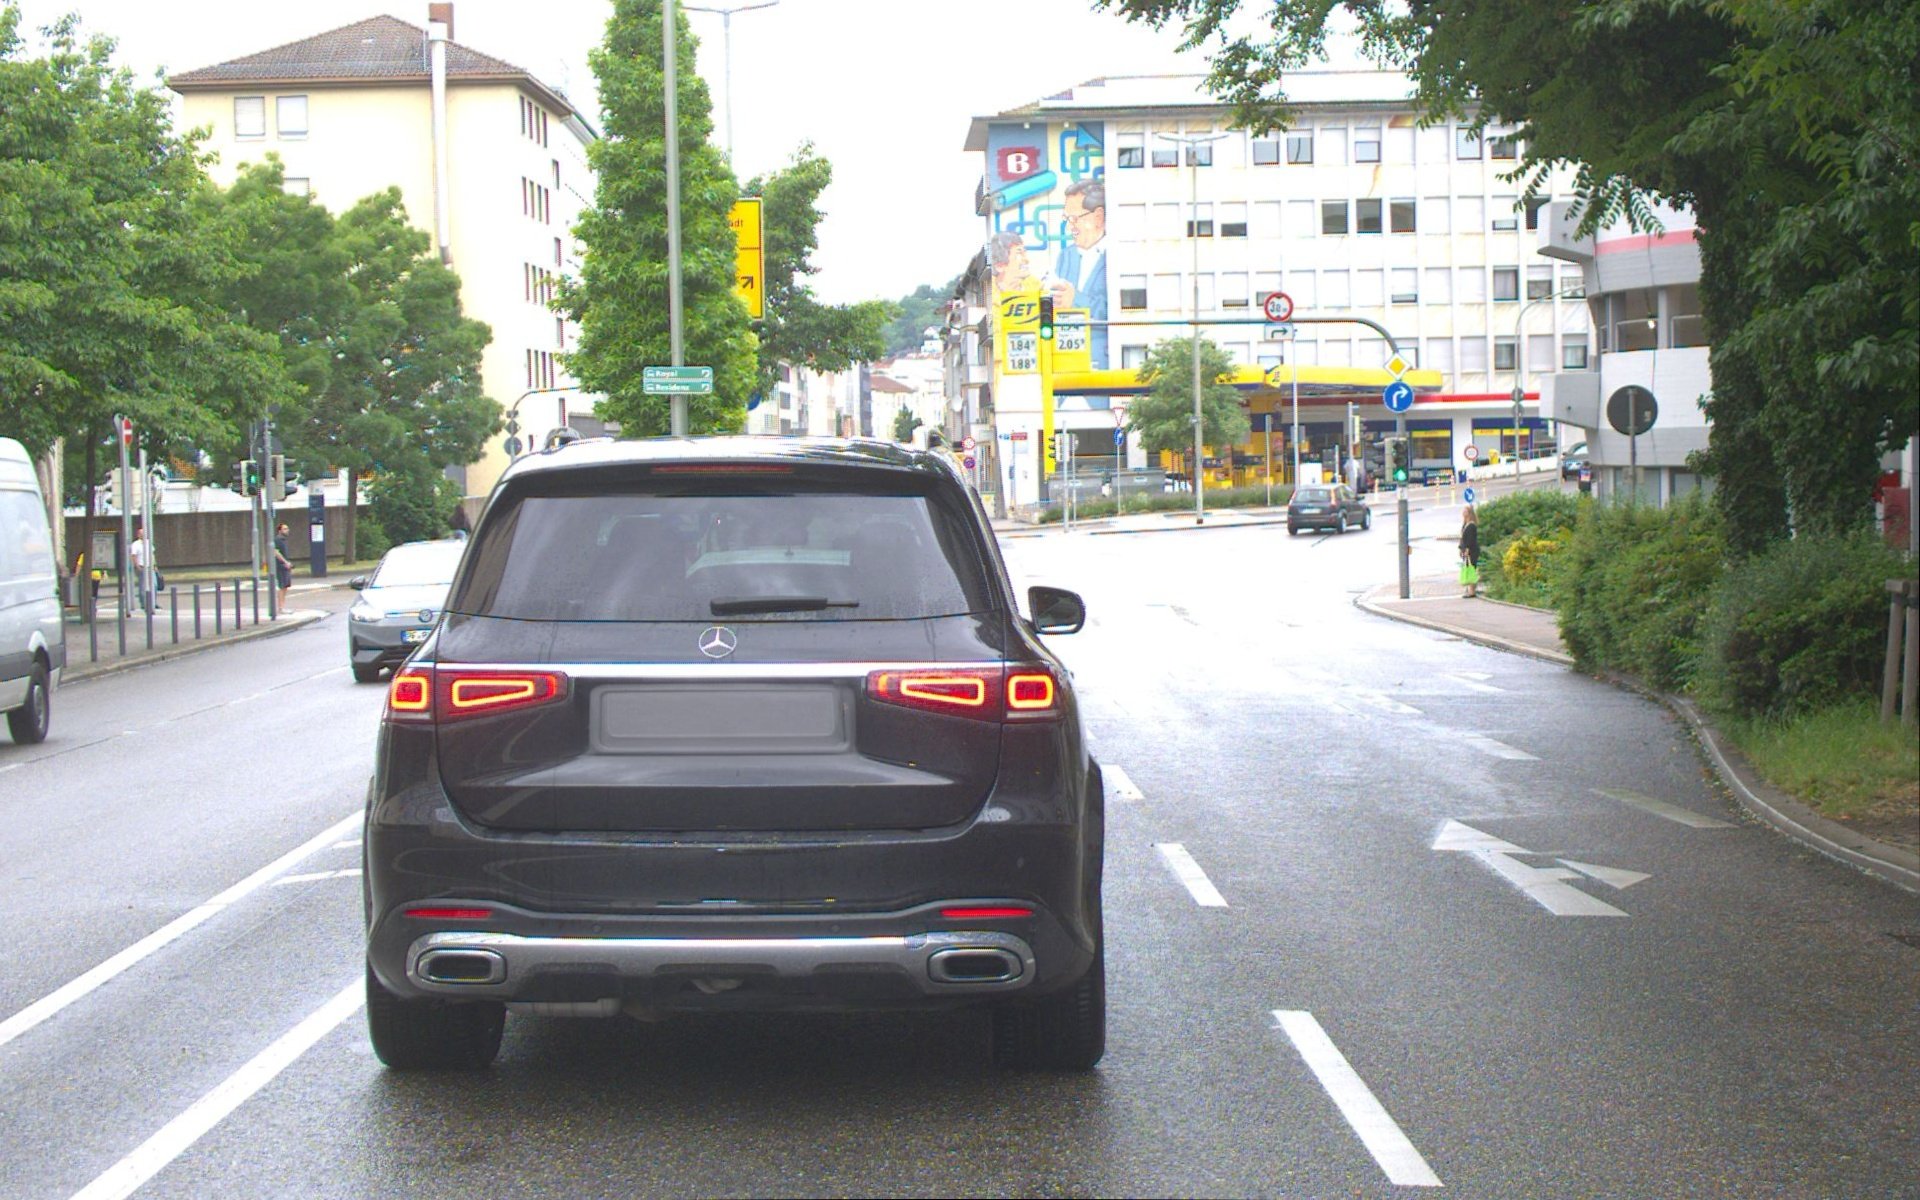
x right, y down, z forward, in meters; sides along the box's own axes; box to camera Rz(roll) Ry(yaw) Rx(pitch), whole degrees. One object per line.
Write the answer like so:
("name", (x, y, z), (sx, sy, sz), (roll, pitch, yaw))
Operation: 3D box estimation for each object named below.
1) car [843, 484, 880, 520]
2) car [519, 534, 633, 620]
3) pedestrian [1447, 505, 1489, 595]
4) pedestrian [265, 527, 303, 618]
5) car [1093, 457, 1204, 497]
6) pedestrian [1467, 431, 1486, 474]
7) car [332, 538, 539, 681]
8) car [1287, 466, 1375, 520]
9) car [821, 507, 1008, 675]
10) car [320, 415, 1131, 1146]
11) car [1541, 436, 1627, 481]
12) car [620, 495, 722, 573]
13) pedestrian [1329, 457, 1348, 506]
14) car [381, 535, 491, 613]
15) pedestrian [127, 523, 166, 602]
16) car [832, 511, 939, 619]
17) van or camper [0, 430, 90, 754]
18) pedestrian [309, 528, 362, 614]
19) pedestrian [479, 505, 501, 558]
("car", (-5.786, -5.746, 202.654), (1.993, 2.007, 4.000), (1, 1, 0))
("car", (-7.144, -0.447, 64.319), (1.811, 1.457, 4.289), (-3, 1, -3))
("pedestrian", (9.652, -0.949, 65.340), (0.646, 1.704, 0.470), (1, 0, 36))
("pedestrian", (-13.293, -0.547, 67.631), (0.687, 1.751, 0.718), (-1, 2, -11))
("car", (7.050, -4.607, 128.536), (1.732, 1.371, 3.998), (-4, 3, -44))
("pedestrian", (20.552, -5.866, 136.784), (0.526, 1.721, 0.688), (0, 2, 26))
("car", (-6.053, 0.064, 40.146), (1.883, 1.492, 4.563), (-2, 1, -3))
("car", (10.881, -3.140, 100.649), (1.798, 1.520, 4.052), (1, 2, 18))
("car", (-0.515, -0.117, 39.239), (1.993, 1.794, 4.000), (1, 1, -1))
("car", (-0.606, 0.431, 10.551), (1.993, 1.794, 4.000), (1, 1, -1))
("car", (25.139, -5.693, 138.445), (1.997, 1.700, 3.993), (0, 2, 33))
("car", (-7.240, -1.666, 86.496), (1.891, 1.805, 4.574), (-3, 1, 3))
("pedestrian", (13.253, -4.138, 120.281), (0.572, 1.691, 0.631), (1, 0, 1))
("car", (-10.473, -0.531, 68.874), (1.797, 1.489, 3.804), (1, 1, -3))
("pedestrian", (-17.294, -0.794, 73.084), (0.689, 1.650, 0.613), (-2, 2, -7))
("car", (-1.431, -0.673, 66.821), (1.993, 2.007, 4.000), (1, 1, -1))
("van or camper", (-8.694, -0.025, 27.213), (2.102, 2.573, 5.909), (-3, 1, -1))
("pedestrian", (-12.510, -0.577, 68.894), (0.946, 1.699, 0.713), (1, 0, -17))
("pedestrian", (-15.554, -2.259, 113.781), (0.648, 1.721, 0.629), (-2, 2, -4))
